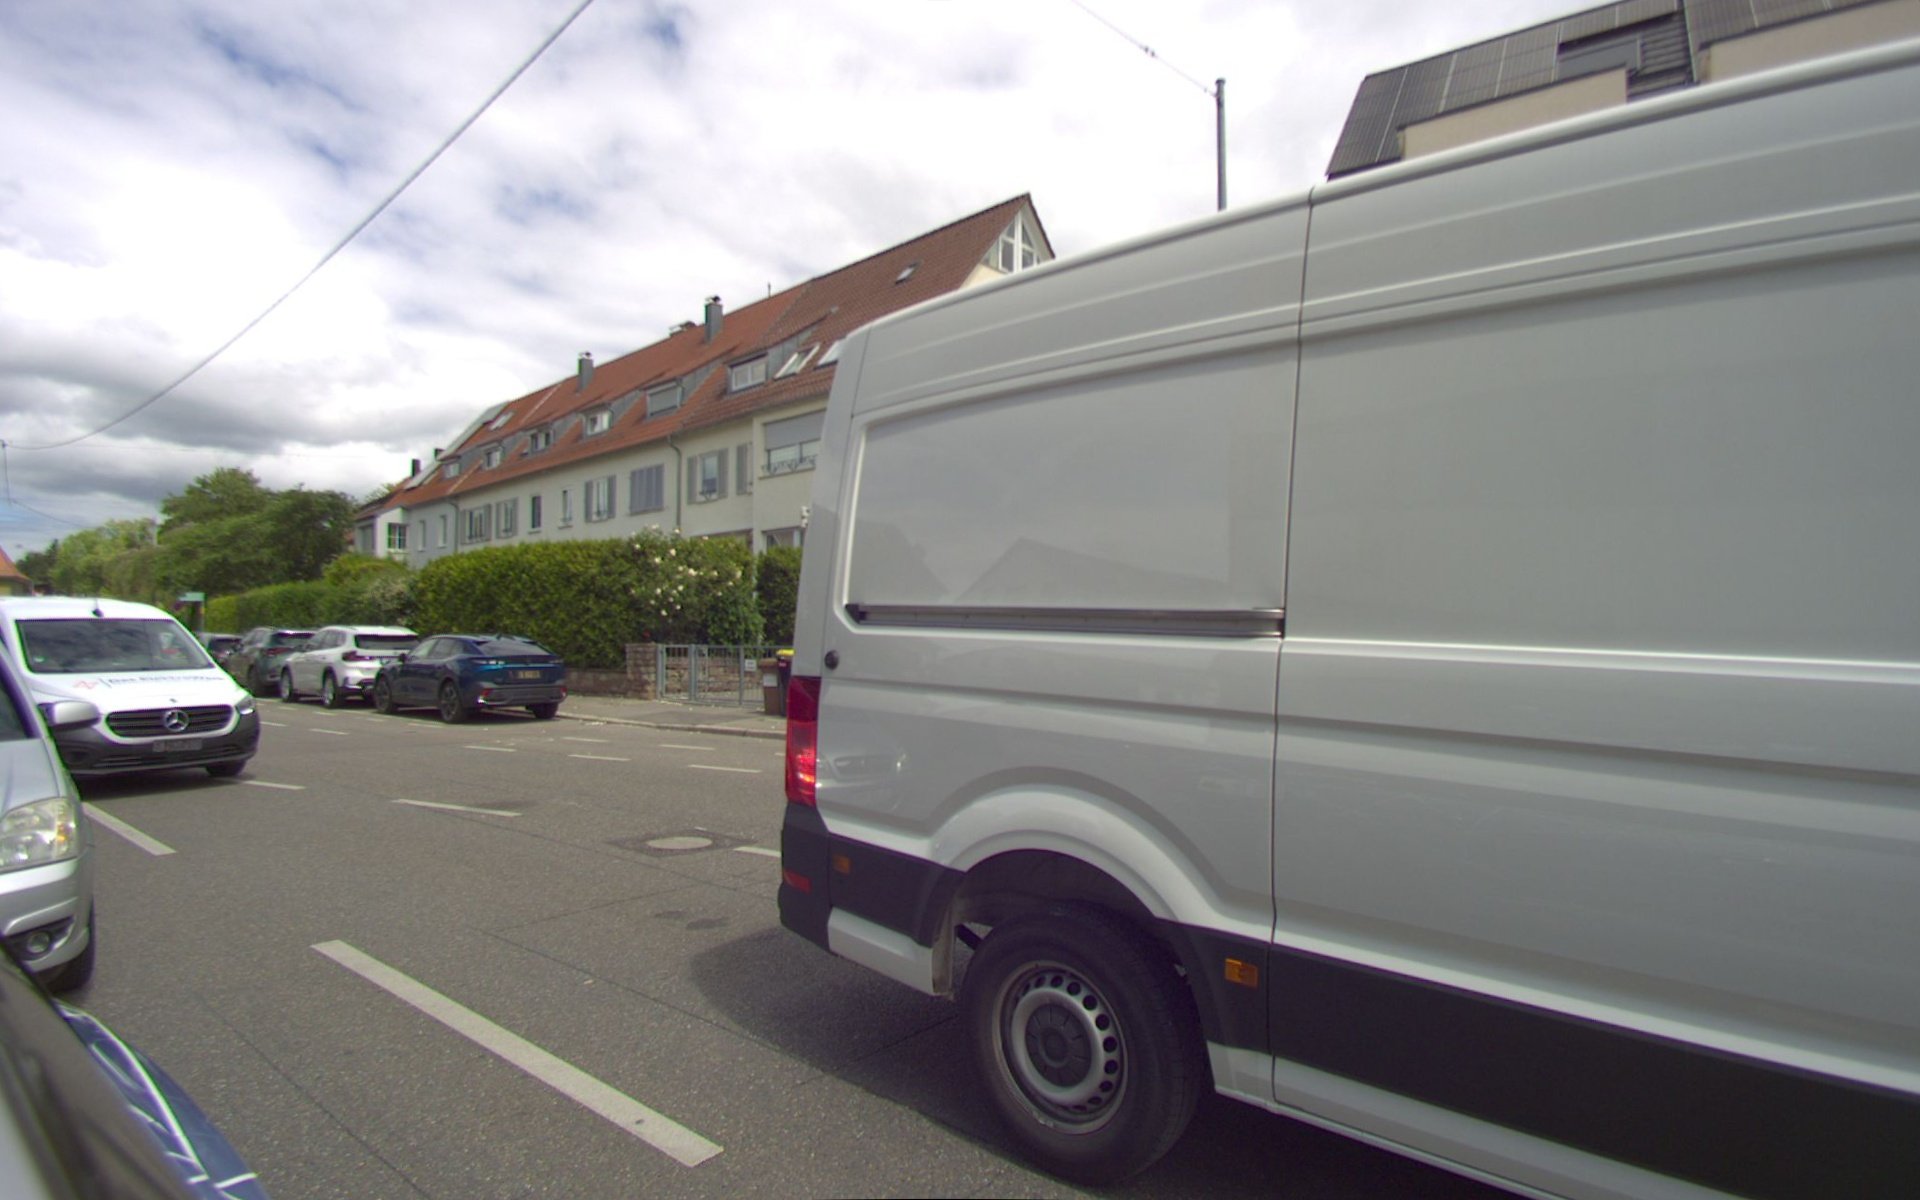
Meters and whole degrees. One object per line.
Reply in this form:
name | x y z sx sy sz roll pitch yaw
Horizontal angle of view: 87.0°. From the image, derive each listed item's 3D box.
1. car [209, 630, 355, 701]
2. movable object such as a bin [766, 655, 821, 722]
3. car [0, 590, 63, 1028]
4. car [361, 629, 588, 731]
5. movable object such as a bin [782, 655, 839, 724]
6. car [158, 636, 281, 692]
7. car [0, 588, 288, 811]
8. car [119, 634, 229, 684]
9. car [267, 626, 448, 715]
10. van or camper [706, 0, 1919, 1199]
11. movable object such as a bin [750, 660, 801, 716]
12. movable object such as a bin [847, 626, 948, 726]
car | -16.740 1.537 24.885 4.690 1.576 1.971 -2 -3 43
movable object such as a bin | -2.684 1.418 16.335 0.658 1.032 0.589 -2 -3 41
car | -5.410 0.788 4.638 4.332 1.552 1.684 -2 -1 45
car | -8.785 1.326 18.145 4.485 1.599 1.973 -1 -3 40
movable object such as a bin | -2.320 1.374 15.734 0.658 1.015 0.589 -2 -3 41
car | -20.914 1.731 28.502 4.690 1.419 1.971 -2 -3 43
car | -8.629 0.851 10.033 4.177 1.784 1.762 -1 -2 33
car | -25.163 1.837 32.355 4.561 1.503 1.760 -1 -3 39
car | -12.712 1.396 21.249 4.515 1.663 1.972 -1 -3 41
van or camper | 2.067 0.078 2.363 5.915 2.600 2.005 -2 -2 39
movable object such as a bin | -3.078 1.459 16.879 0.614 0.886 0.589 -2 -3 41
movable object such as a bin | -0.987 1.163 15.967 1.213 1.493 1.054 -2 -3 39
